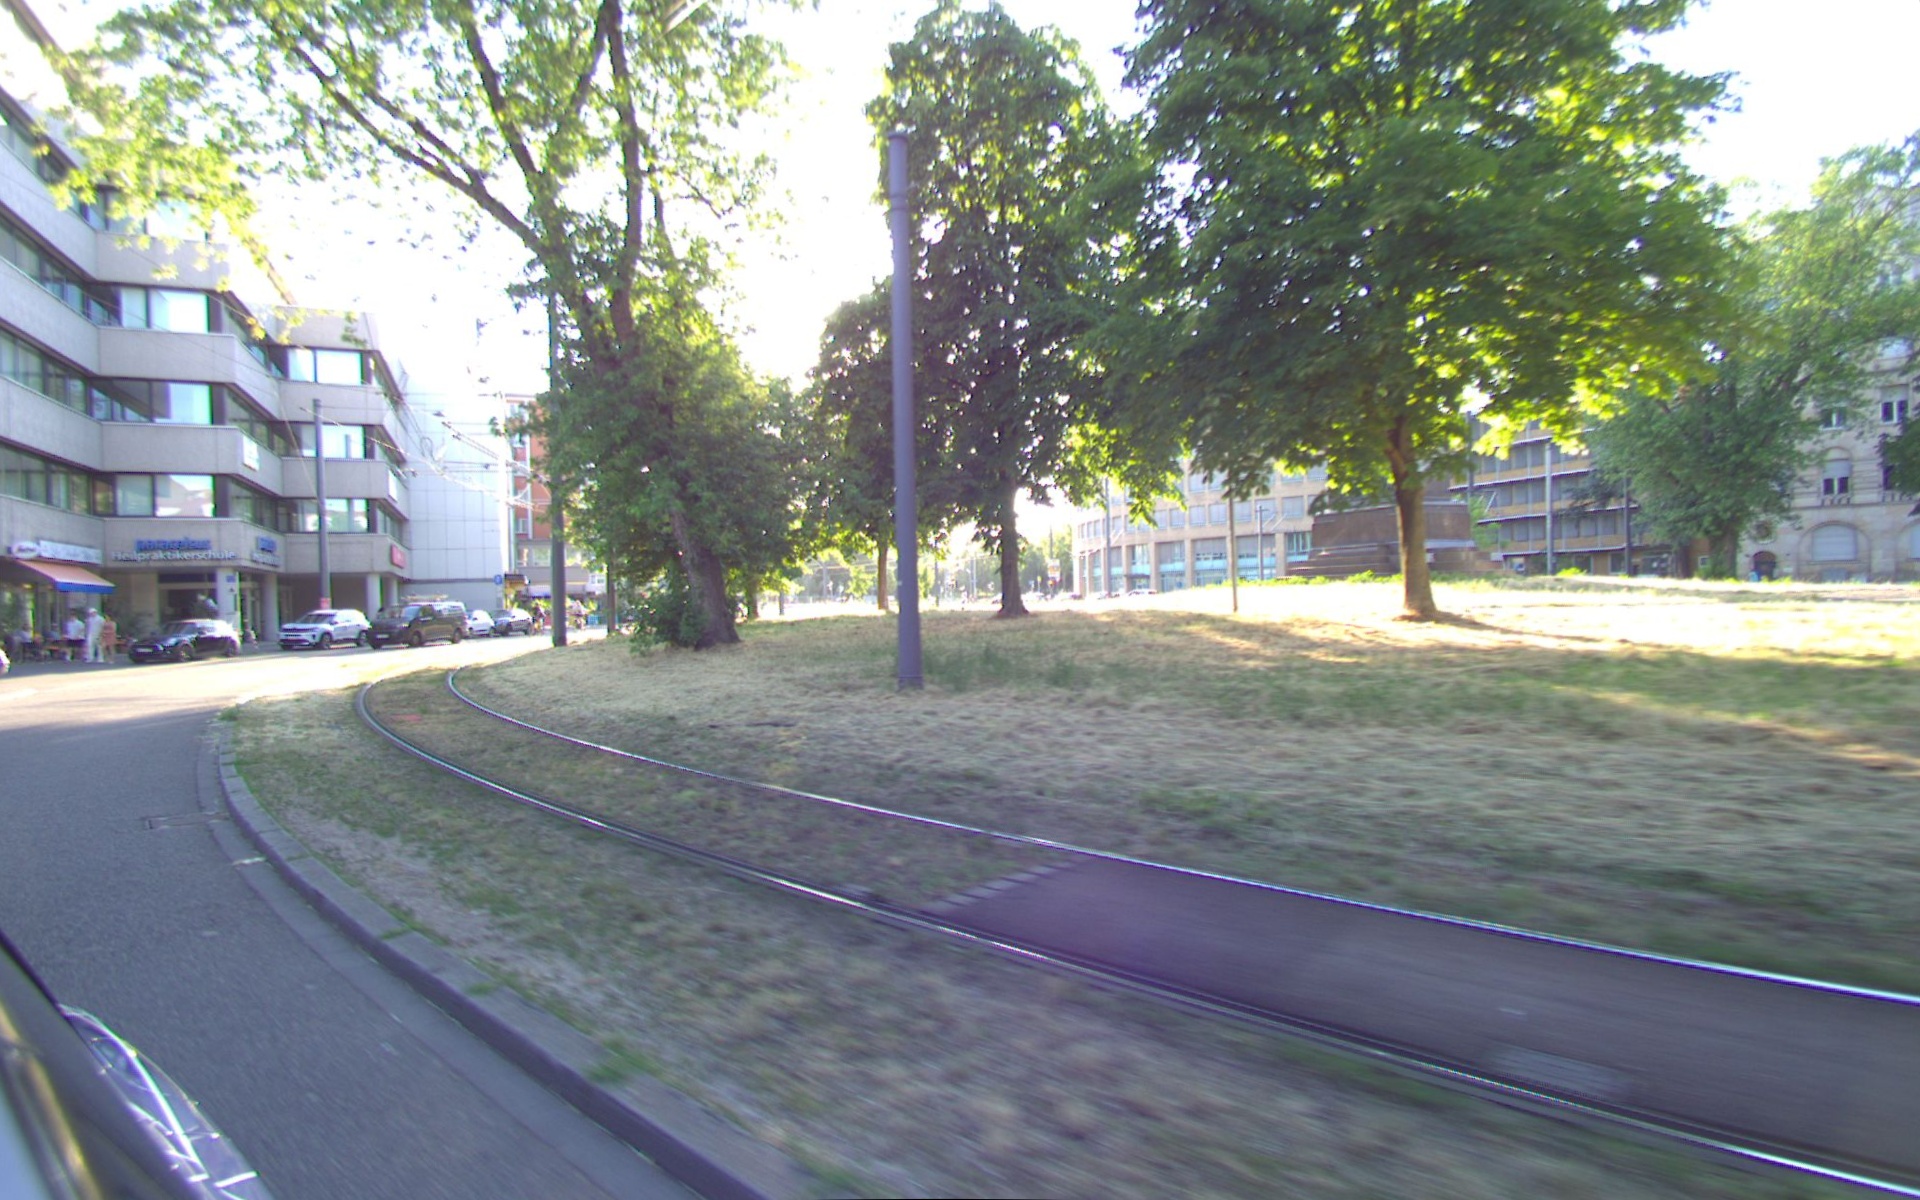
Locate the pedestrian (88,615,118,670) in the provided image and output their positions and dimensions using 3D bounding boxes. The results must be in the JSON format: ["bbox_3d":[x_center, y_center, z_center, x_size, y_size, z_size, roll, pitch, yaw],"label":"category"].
[{"bbox_3d":[-29.433,1.459,34.758,0.525,1.852,0.501,2,-2,-11],"label":"pedestrian"}]

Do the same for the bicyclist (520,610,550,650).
[{"bbox_3d":[-21.815,1.523,51.958,0.913,1.988,1.112,-2,0,4],"label":"bicyclist"}]

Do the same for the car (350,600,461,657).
[{"bbox_3d":[-23.714,1.160,43.509,1.974,2.172,4.518,-2,1,4],"label":"car"}]

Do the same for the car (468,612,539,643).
[{"bbox_3d":[-27.444,1.648,61.018,1.974,1.617,4.518,-2,1,4],"label":"car"}]

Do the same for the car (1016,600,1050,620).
[{"bbox_3d":[8.100,1.094,112.197,1.965,2.029,4.013,-3,1,-25],"label":"car"}]

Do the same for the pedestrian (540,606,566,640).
[{"bbox_3d":[-24.571,1.368,61.066,0.924,1.987,1.271,-2,0,4],"label":"pedestrian"}]

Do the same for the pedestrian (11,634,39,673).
[{"bbox_3d":[-32.592,1.852,35.278,0.601,1.331,0.561,-1,0,-31],"label":"pedestrian"}]

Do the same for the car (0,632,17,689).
[{"bbox_3d":[-25.294,1.605,23.714,1.974,1.404,4.518,-2,1,4],"label":"car"}]

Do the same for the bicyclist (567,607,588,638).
[{"bbox_3d":[-22.678,1.327,60.007,0.849,1.796,0.986,-1,0,-2],"label":"bicyclist"}]

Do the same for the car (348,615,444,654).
[{"bbox_3d":[-27.649,1.648,49.789,1.974,1.617,4.518,-2,1,4],"label":"car"}]

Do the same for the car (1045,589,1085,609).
[{"bbox_3d":[10.901,-0.093,105.381,1.965,2.029,4.563,-3,1,-25],"label":"car"}]

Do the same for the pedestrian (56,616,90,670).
[{"bbox_3d":[-30.678,1.478,34.992,0.611,1.852,0.537,2,-2,-10],"label":"pedestrian"}]

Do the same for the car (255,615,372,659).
[{"bbox_3d":[-28.068,1.580,44.120,1.974,1.617,4.518,-2,1,4],"label":"car"}]

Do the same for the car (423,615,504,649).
[{"bbox_3d":[-27.589,1.748,56.405,1.974,1.617,4.518,-2,1,4],"label":"car"}]

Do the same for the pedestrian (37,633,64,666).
[{"bbox_3d":[-31.721,1.716,35.310,0.601,1.095,0.561,-1,0,-31],"label":"pedestrian"}]

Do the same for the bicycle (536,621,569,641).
[{"bbox_3d":[-24.553,1.853,61.042,0.945,1.084,2.219,-2,0,4],"label":"bicycle"}]

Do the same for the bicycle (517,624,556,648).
[{"bbox_3d":[-21.799,1.845,52.125,0.924,1.084,2.219,-2,0,4],"label":"bicycle"}]

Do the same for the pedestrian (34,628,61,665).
[{"bbox_3d":[-33.559,1.711,37.229,0.601,1.331,0.593,-1,0,-31],"label":"pedestrian"}]

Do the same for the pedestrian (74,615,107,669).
[{"bbox_3d":[-30.032,1.445,34.963,0.565,1.852,0.605,2,-2,-10],"label":"pedestrian"}]

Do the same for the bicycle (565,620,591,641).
[{"bbox_3d":[-22.675,1.806,60.063,0.861,1.105,1.851,-2,0,-2],"label":"bicycle"}]

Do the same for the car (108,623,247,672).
[{"bbox_3d":[-27.950,1.654,36.321,1.771,1.453,3.997,-2,1,3],"label":"car"}]

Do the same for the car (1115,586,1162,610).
[{"bbox_3d":[16.546,-0.168,93.830,1.965,2.029,4.563,-3,1,-25],"label":"car"}]
